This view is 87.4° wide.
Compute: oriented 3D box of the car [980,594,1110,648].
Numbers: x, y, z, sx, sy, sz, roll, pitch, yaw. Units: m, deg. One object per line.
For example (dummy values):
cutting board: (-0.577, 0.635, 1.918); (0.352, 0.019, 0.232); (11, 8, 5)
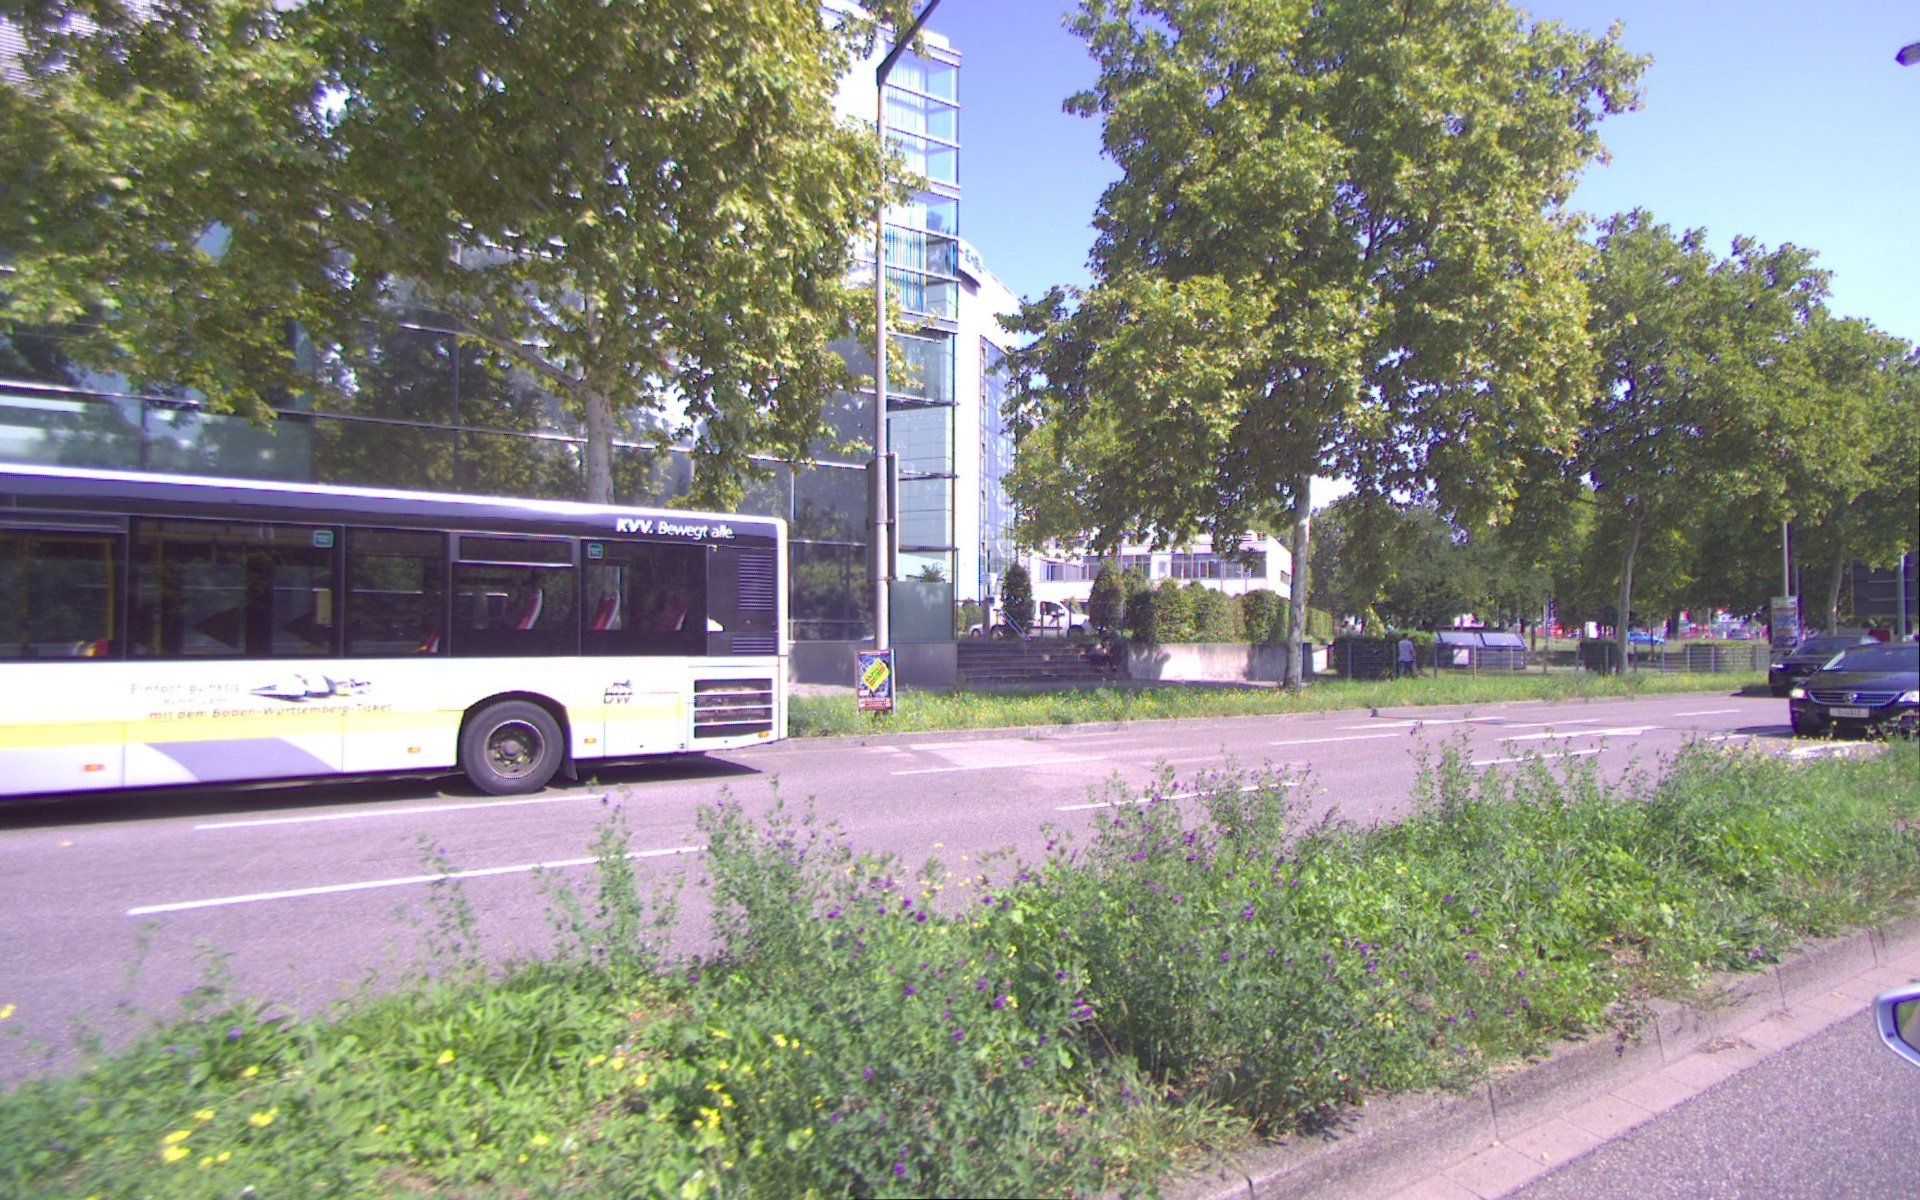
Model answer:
car: (3.226, 0.779, 38.256); (4.526, 1.927, 1.998); (-1, 1, 24)

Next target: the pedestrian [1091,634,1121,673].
pedestrian: (4.439, 1.625, 30.488); (0.556, 1.124, 0.730); (-2, 1, -36)

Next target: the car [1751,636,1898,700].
car: (24.051, 1.860, 27.912); (4.560, 1.626, 1.836); (2, -2, -32)

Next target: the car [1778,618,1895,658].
car: (58.894, 2.490, 67.602); (2.254, 2.369, 5.552); (-2, 1, -33)

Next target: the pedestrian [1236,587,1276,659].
pedestrian: (10.231, 0.777, 34.681); (0.902, 2.423, 0.966); (-1, 1, -25)

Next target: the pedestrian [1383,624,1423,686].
pedestrian: (15.407, 1.896, 34.938); (0.995, 2.041, 1.269); (-1, 1, 11)

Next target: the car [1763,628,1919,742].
car: (14.295, 1.218, 15.240); (4.591, 1.509, 1.836); (2, -4, -32)

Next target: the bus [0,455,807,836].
bus: (-6.844, 0.415, 8.805); (10.787, 2.729, 2.648); (2, -4, -33)
